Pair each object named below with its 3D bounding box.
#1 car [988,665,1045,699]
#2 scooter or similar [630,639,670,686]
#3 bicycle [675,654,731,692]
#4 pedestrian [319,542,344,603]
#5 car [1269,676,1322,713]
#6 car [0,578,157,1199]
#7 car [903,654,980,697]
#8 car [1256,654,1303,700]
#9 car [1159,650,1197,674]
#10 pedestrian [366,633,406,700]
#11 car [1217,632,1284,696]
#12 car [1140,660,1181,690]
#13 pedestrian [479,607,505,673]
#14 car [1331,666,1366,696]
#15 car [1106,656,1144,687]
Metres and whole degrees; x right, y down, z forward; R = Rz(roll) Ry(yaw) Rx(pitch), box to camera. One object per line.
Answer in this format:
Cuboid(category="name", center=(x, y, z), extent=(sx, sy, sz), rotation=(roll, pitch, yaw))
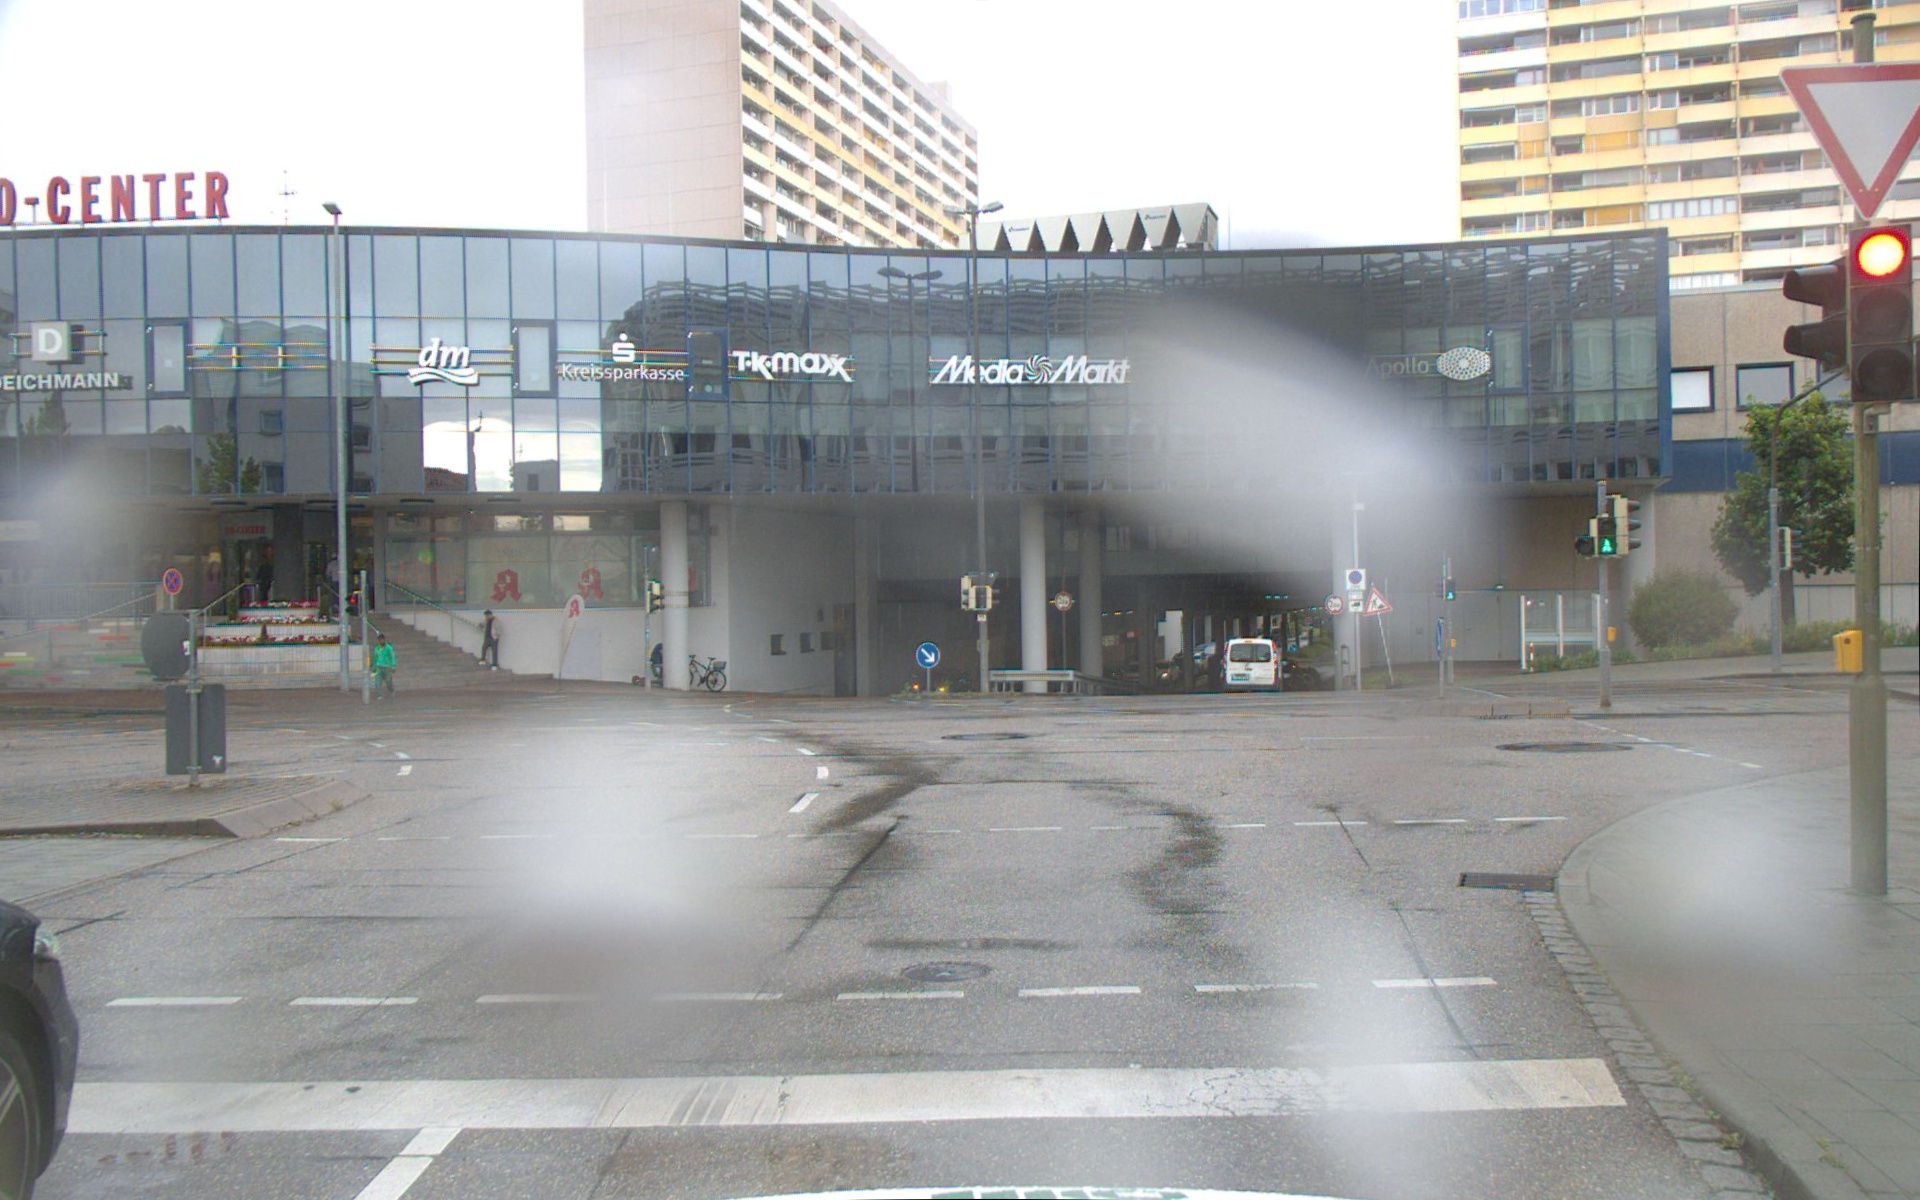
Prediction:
Cuboid(category="car", center=(2.617, 3.790, 76.093), extent=(1.733, 1.490, 3.877), rotation=(-2, -3, 16))
Cuboid(category="scooter or similar", center=(-9.383, 1.882, 49.985), extent=(1.146, 1.397, 0.487), rotation=(1, -1, -15))
Cuboid(category="bicycle", center=(-7.835, 2.232, 50.483), extent=(1.565, 1.036, 0.447), rotation=(6, -3, -30))
Cuboid(category="pedestrian", center=(-19.114, -0.825, 50.322), extent=(0.622, 1.839, 0.502), rotation=(1, -1, -17))
Cuboid(category="car", center=(13.717, 3.880, 67.518), extent=(1.742, 1.425, 4.001), rotation=(-2, -4, 16))
Cuboid(category="car", center=(-2.788, 0.716, 2.056), extent=(1.629, 1.507, 4.093), rotation=(1, 1, -1))
Cuboid(category="car", center=(-0.692, 2.968, 64.269), extent=(1.852, 1.496, 4.028), rotation=(-1, -5, 17))
Cuboid(category="car", center=(12.096, 2.946, 62.566), extent=(1.598, 1.640, 4.265), rotation=(-3, -4, 11))
Cuboid(category="car", center=(14.671, 4.159, 111.094), extent=(1.951, 1.489, 4.002), rotation=(-2, -1, 16))
Cuboid(category="pedestrian", center=(-14.670, 1.687, 42.274), extent=(0.934, 1.652, 0.805), rotation=(-1, -1, -19))
Cuboid(category="car", center=(8.877, 1.929, 50.278), extent=(1.884, 1.829, 4.299), rotation=(-1, -2, 11))
Cuboid(category="car", center=(12.562, 4.685, 103.459), extent=(1.951, 1.693, 4.002), rotation=(1, -1, 16))
Cuboid(category="pedestrian", center=(-13.821, 1.177, 48.846), extent=(0.643, 1.942, 0.594), rotation=(0, -1, -7))
Cuboid(category="car", center=(21.715, 4.497, 92.418), extent=(1.847, 1.517, 3.844), rotation=(0, -1, 14))
Cuboid(category="car", center=(9.769, 4.206, 97.698), extent=(1.797, 1.758, 4.003), rotation=(-1, -1, 12))
